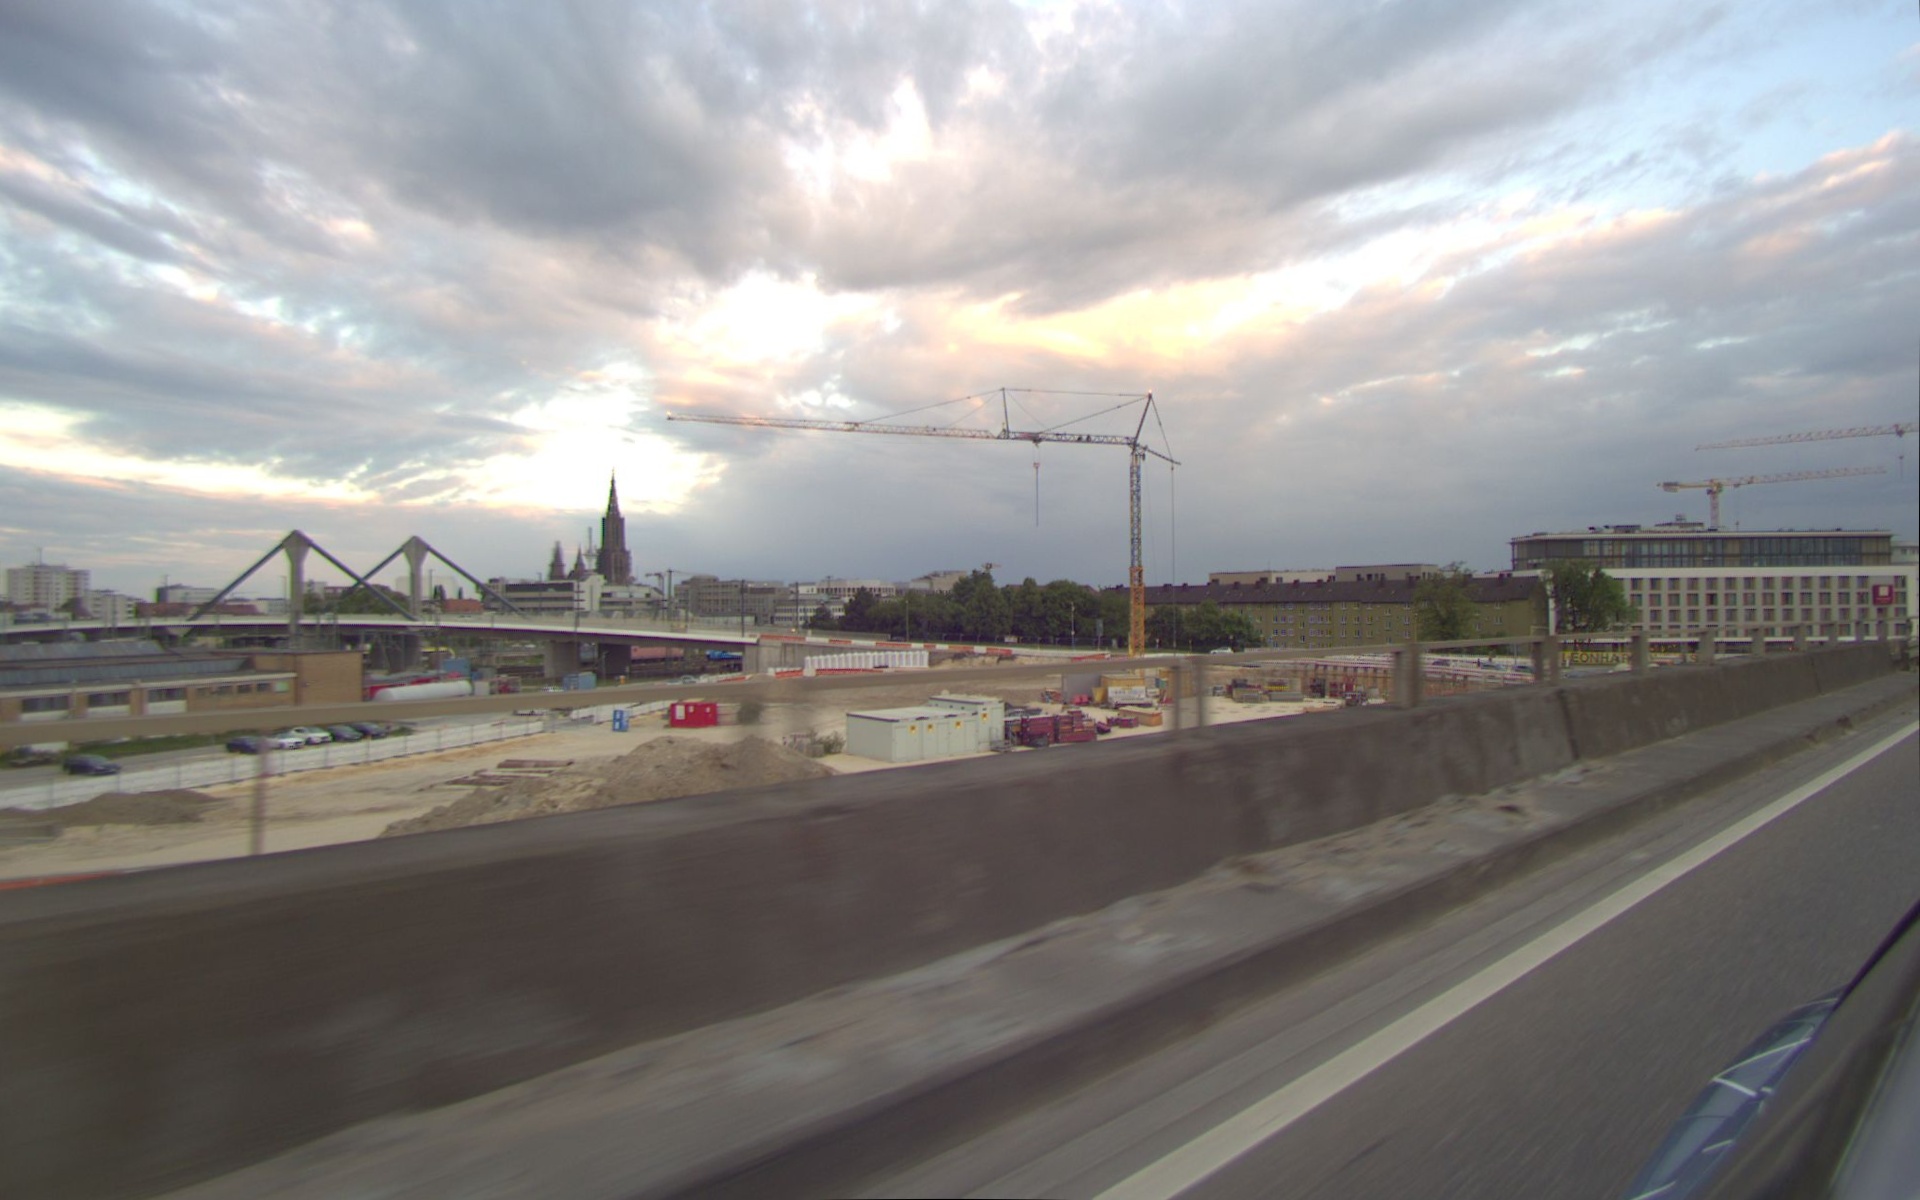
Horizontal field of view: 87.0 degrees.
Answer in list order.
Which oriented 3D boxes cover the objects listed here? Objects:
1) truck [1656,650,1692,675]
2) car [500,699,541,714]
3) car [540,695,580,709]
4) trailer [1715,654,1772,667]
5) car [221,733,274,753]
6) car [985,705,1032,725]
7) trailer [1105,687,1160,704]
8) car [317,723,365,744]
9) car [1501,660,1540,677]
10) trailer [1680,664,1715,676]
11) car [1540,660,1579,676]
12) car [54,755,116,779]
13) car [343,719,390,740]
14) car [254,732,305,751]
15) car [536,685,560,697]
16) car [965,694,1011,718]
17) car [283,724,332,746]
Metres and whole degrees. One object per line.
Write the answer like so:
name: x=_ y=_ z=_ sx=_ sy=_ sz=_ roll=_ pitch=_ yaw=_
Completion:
truck: x=91.297 y=7.974 z=129.314 sx=7.210 sy=2.987 sz=2.159 roll=1 pitch=-4 yaw=-42
car: x=-52.698 y=12.756 z=121.453 sx=4.280 sy=1.540 sz=1.863 roll=-2 pitch=-1 yaw=15
car: x=-49.880 y=12.712 z=126.195 sx=4.280 sy=1.540 sz=1.863 roll=-2 pitch=-1 yaw=15
trailer: x=103.886 y=7.987 z=134.304 sx=5.834 sy=1.365 sz=2.002 roll=0 pitch=0 yaw=35
car: x=-63.282 y=12.726 z=89.880 sx=3.947 sy=1.439 sz=1.859 roll=-6 pitch=-5 yaw=19
car: x=4.206 y=9.893 z=87.334 sx=3.719 sy=1.461 sz=1.530 roll=-3 pitch=-5 yaw=-11
trailer: x=14.554 y=8.022 z=85.322 sx=4.164 sy=1.257 sz=1.787 roll=0 pitch=-2 yaw=-11
car: x=-59.637 y=12.828 z=97.479 sx=3.947 sy=1.674 sz=1.859 roll=-6 pitch=-6 yaw=19
car: x=73.326 y=8.932 z=132.440 sx=1.767 sy=1.741 sz=4.108 roll=-3 pitch=1 yaw=-27
trailer: x=97.439 y=9.268 z=133.730 sx=5.763 sy=1.366 sz=1.997 roll=1 pitch=-6 yaw=-37
car: x=74.671 y=8.482 z=126.179 sx=1.611 sy=1.762 sz=3.798 roll=-2 pitch=-6 yaw=-23
car: x=-67.546 y=12.896 z=78.133 sx=3.947 sy=1.439 sz=1.859 roll=-6 pitch=-5 yaw=19
car: x=-58.534 y=12.785 z=99.827 sx=3.947 sy=1.674 sz=1.859 roll=-6 pitch=-6 yaw=19
car: x=-62.153 y=12.909 z=92.440 sx=3.947 sy=1.439 sz=1.859 roll=-6 pitch=-5 yaw=19
car: x=-58.463 y=12.892 z=143.761 sx=1.415 sy=1.597 sz=3.673 roll=-5 pitch=-5 yaw=9
car: x=2.623 y=9.913 z=94.470 sx=3.918 sy=1.948 sz=1.686 roll=-3 pitch=-5 yaw=-11
car: x=-61.307 y=12.675 z=95.157 sx=3.947 sy=1.738 sz=1.859 roll=-6 pitch=-6 yaw=19
